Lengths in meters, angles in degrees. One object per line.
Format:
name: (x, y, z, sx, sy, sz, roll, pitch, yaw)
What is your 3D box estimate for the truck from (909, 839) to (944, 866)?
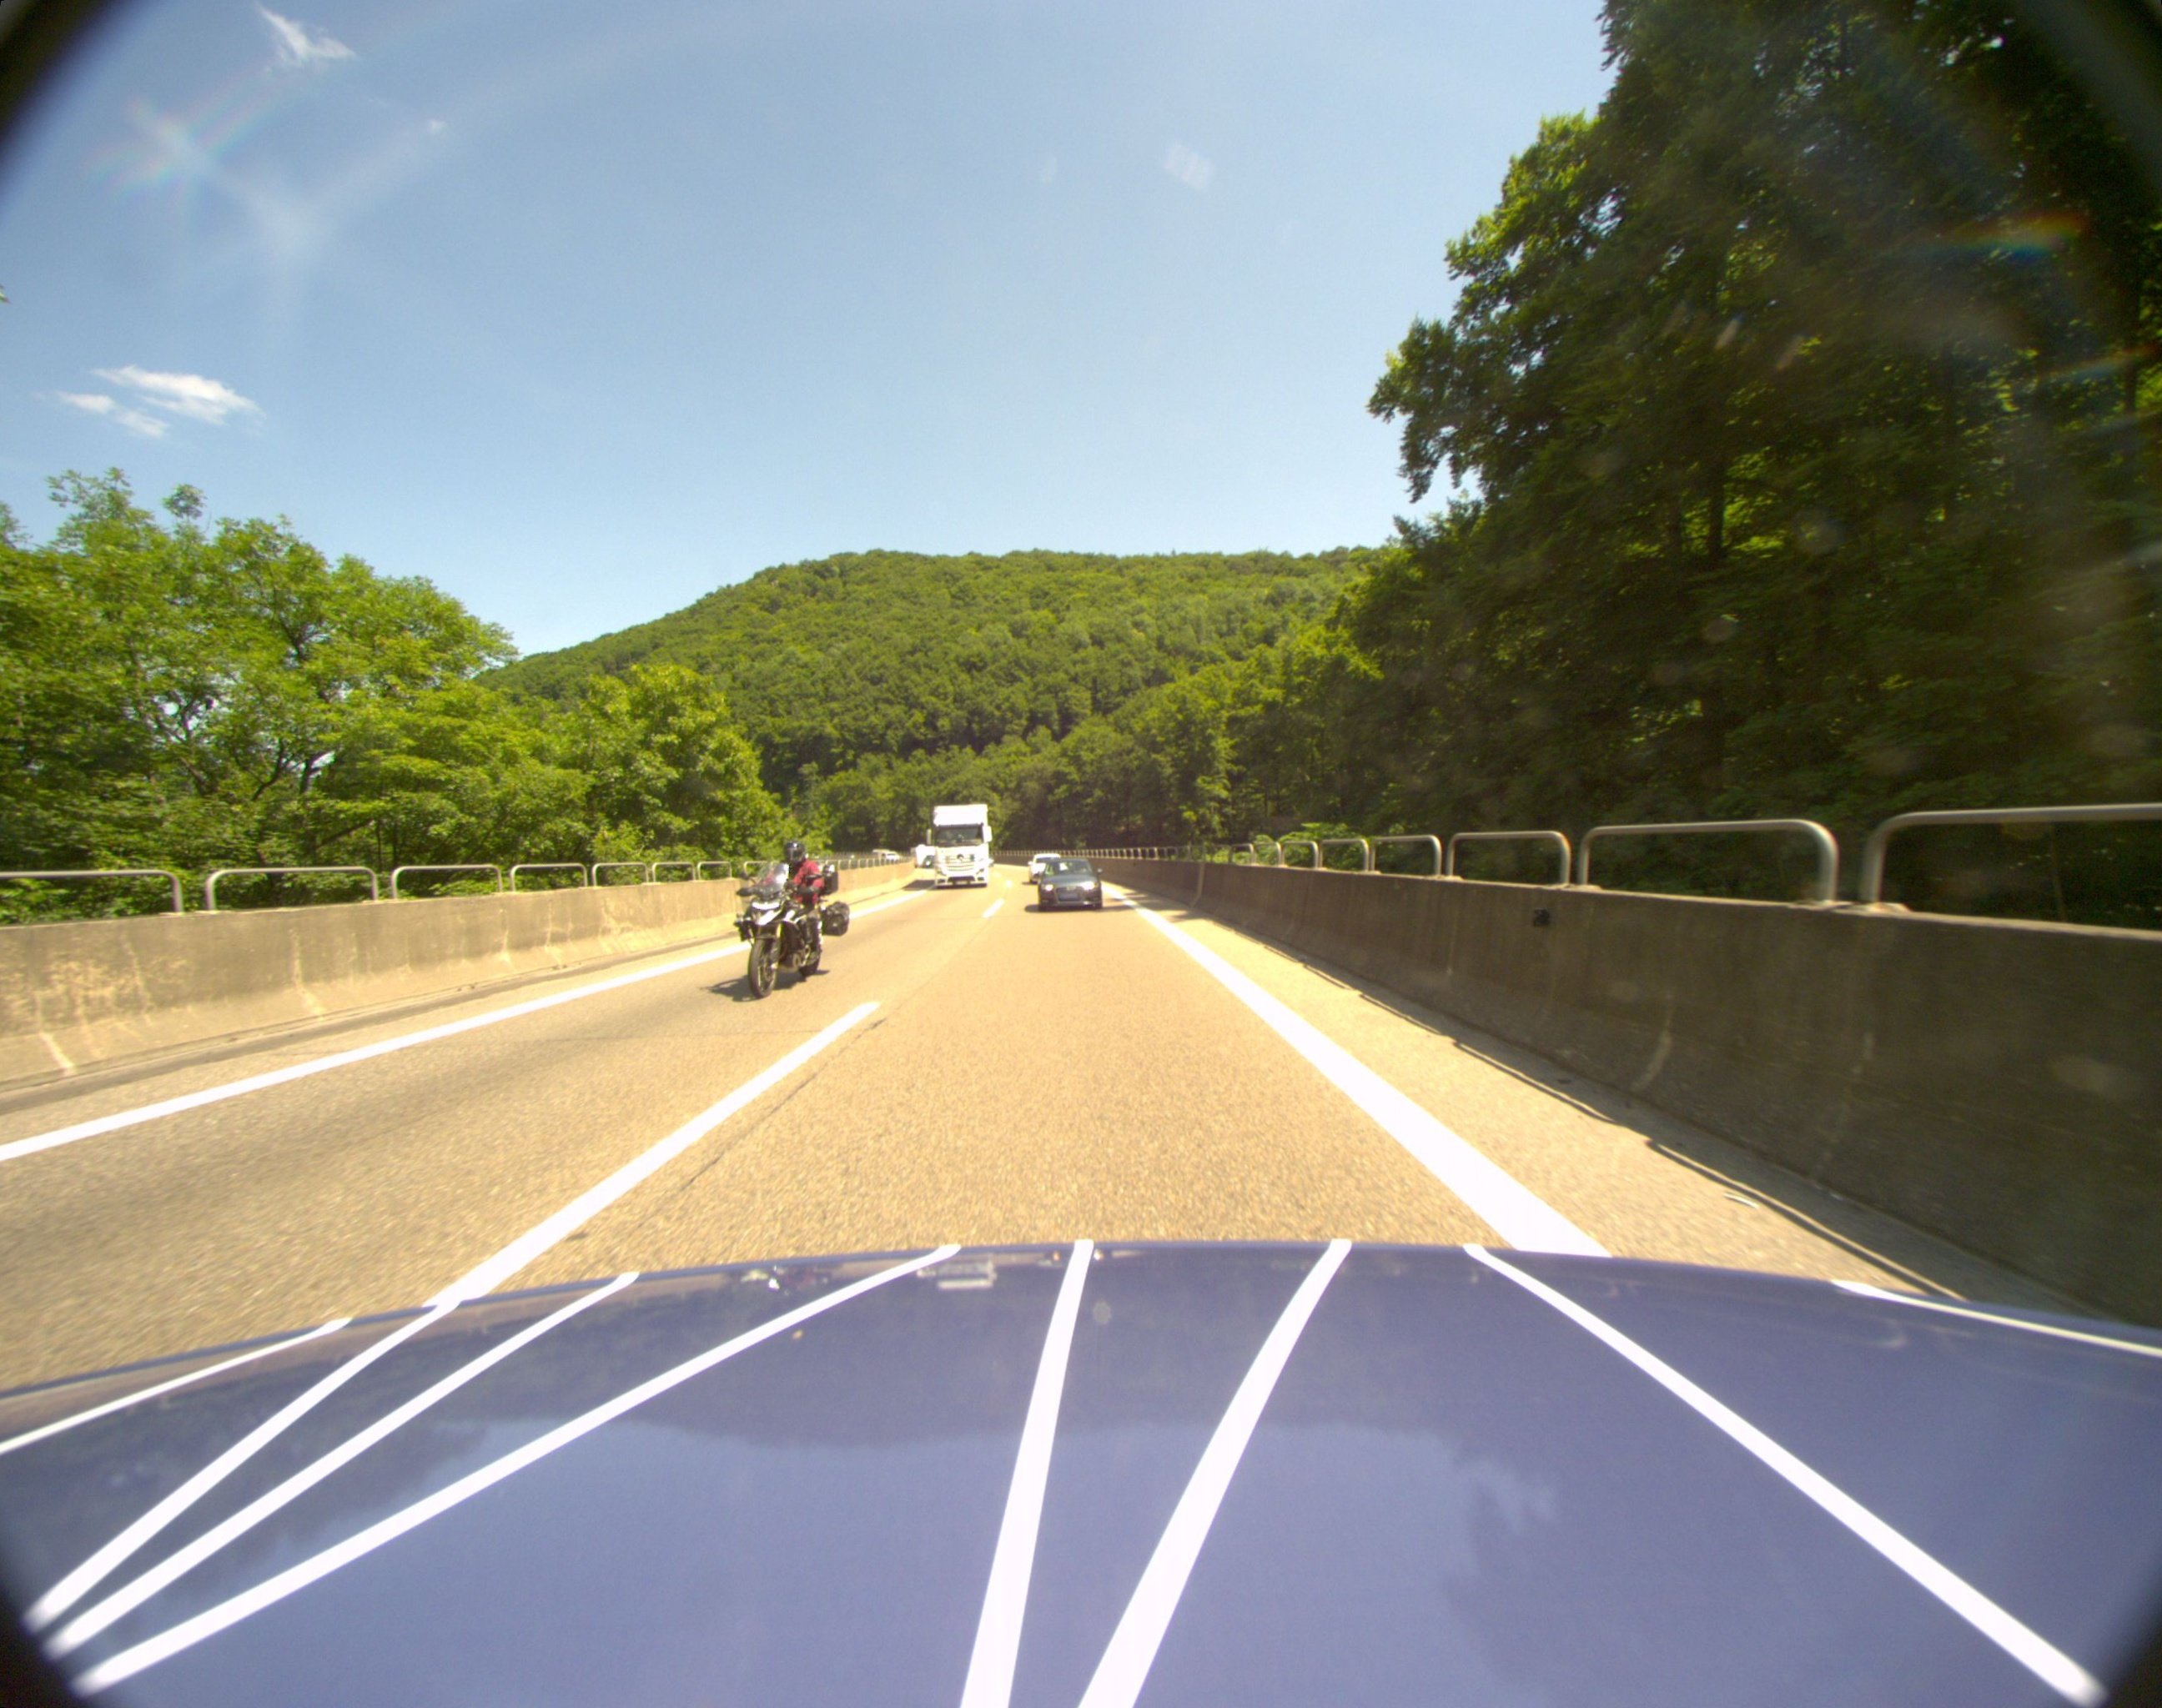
truck: (-19.127, -0.165, 93.632, 2.622, 3.084, 6.841, -3, 1, -25)

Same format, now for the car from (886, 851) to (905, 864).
car: (-29.291, 0.548, 119.955, 2.003, 2.002, 3.991, -2, 1, -27)

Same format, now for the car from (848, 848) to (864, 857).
car: (-47.444, -0.276, 160.016, 2.003, 1.783, 3.990, -3, 1, -33)

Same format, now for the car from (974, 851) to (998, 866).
car: (-10.427, 0.488, 83.004, 1.758, 1.480, 3.975, -3, 1, -19)

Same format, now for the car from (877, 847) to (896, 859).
car: (-32.361, -0.121, 126.353, 2.003, 2.002, 3.990, -2, 1, -32)

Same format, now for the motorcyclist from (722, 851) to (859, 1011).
motorcyclist: (-3.527, 0.886, 9.375, 1.063, 1.790, 1.338, -2, 1, 2)

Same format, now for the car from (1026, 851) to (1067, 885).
car: (-1.800, 0.676, 38.545, 1.756, 1.460, 3.979, -4, 1, -6)

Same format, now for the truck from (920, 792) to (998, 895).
truck: (-6.110, -0.491, 39.557, 2.970, 4.109, 16.694, -2, 1, -8)

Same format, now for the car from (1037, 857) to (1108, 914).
car: (-0.296, 0.808, 21.206, 1.756, 1.350, 4.120, -2, 0, -2)

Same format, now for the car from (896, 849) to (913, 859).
car: (-31.697, 0.043, 136.615, 2.003, 1.783, 3.991, -3, 1, -27)

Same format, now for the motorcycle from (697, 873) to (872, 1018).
motorcycle: (-3.518, 1.008, 9.421, 0.975, 1.411, 2.681, -2, 1, 2)

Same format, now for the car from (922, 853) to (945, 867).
car: (-17.186, 0.680, 88.521, 1.758, 1.480, 3.974, -2, 1, -23)
